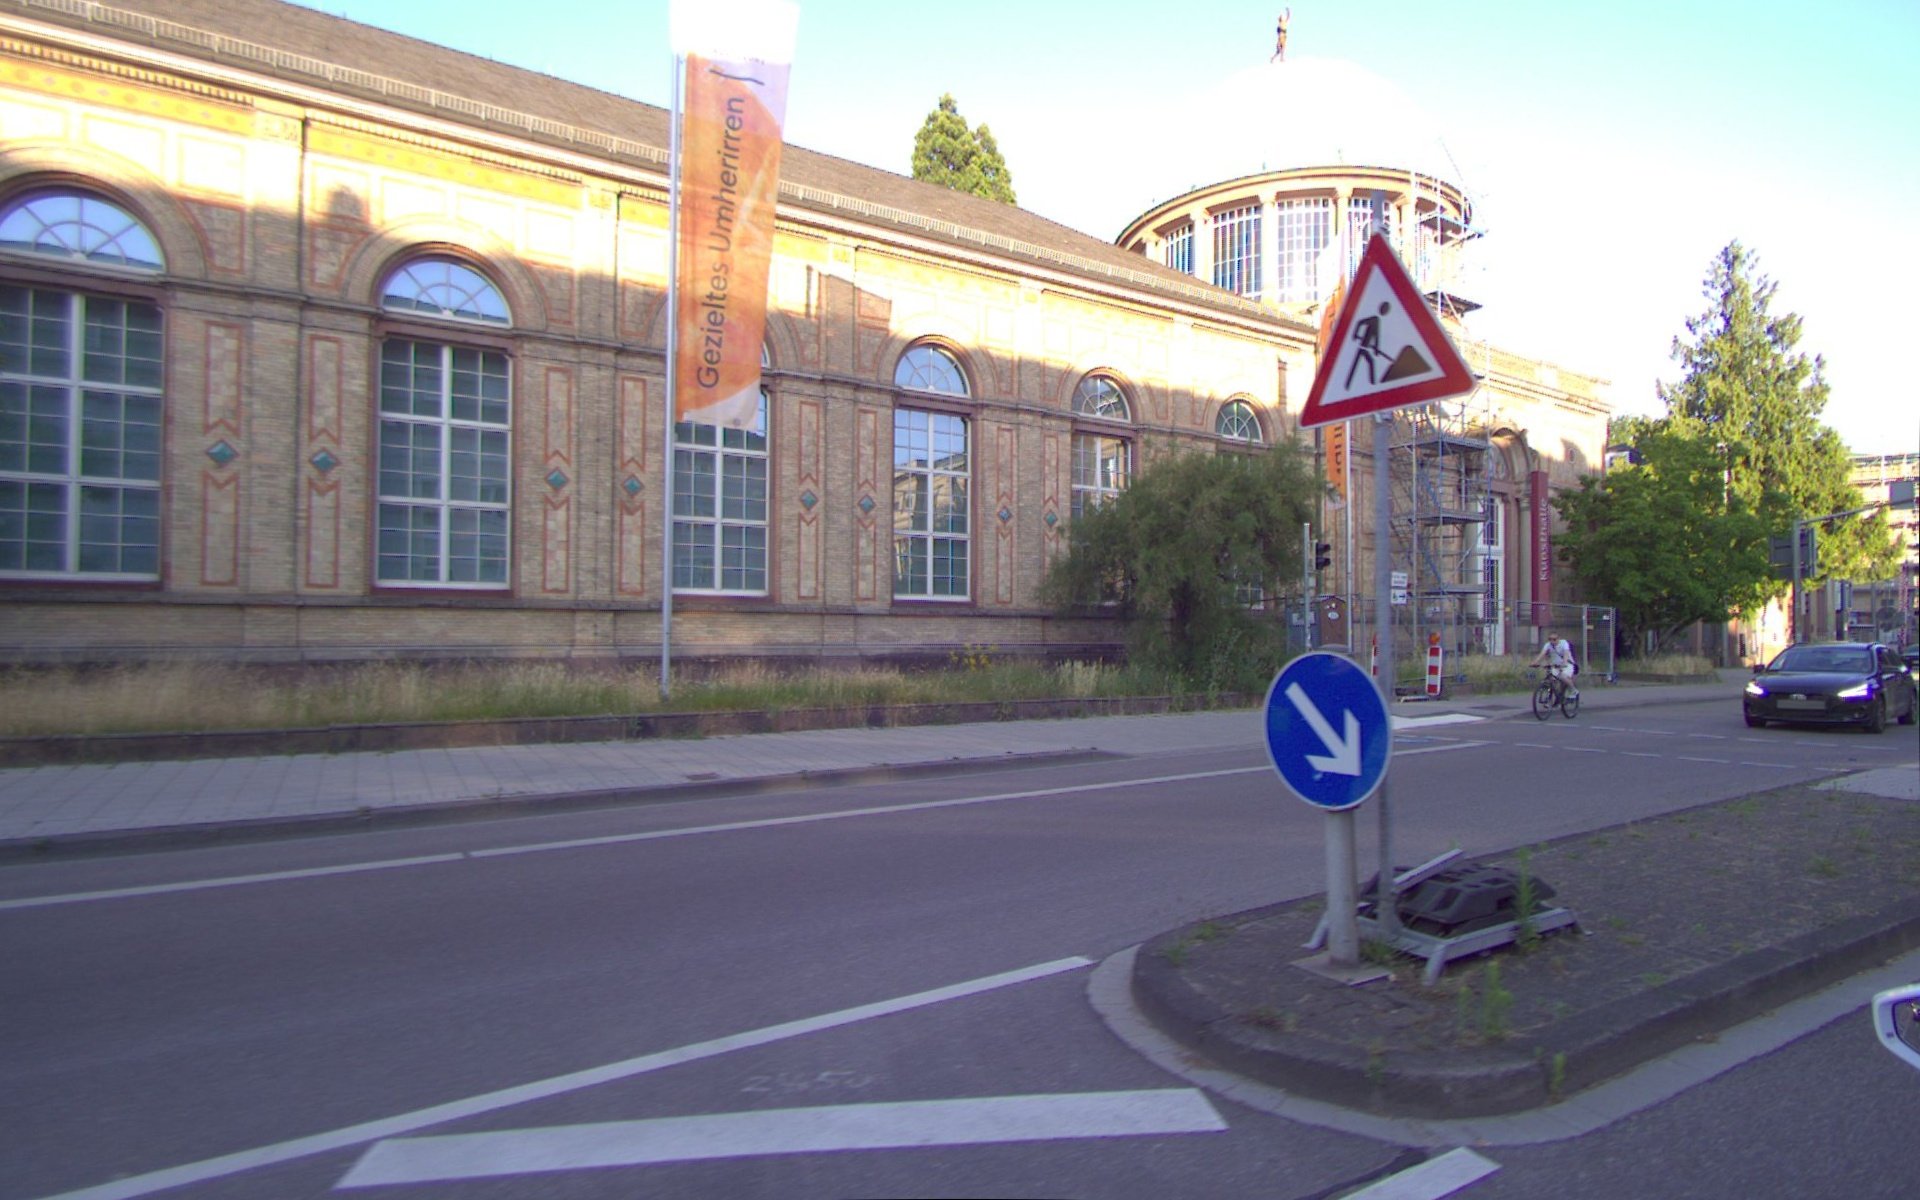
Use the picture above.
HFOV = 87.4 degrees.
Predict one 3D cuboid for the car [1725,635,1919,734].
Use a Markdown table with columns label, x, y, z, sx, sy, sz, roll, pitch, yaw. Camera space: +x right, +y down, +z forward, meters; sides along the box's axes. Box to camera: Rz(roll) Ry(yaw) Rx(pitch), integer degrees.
| label | x | y | z | sx | sy | sz | roll | pitch | yaw |
| --- | --- | --- | --- | --- | --- | --- | --- | --- | --- |
| car | 15.401 | 1.403 | 17.789 | 4.385 | 1.528 | 1.810 | 2 | -2 | -37 |

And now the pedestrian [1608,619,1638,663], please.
| label | x | y | z | sx | sy | sz | roll | pitch | yaw |
| --- | --- | --- | --- | --- | --- | --- | --- | --- | --- |
| pedestrian | 24.614 | 1.507 | 37.285 | 0.755 | 1.600 | 0.730 | 1 | -1 | -37 |

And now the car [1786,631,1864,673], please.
| label | x | y | z | sx | sy | sz | roll | pitch | yaw |
| --- | --- | --- | --- | --- | --- | --- | --- | --- | --- |
| car | 35.644 | 2.169 | 41.367 | 4.334 | 1.568 | 1.730 | 4 | -2 | -39 |

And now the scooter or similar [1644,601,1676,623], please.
| label | x | y | z | sx | sy | sz | roll | pitch | yaw |
| --- | --- | --- | --- | --- | --- | --- | --- | --- | --- |
| scooter or similar | 25.129 | 0.431 | 36.058 | 1.019 | 0.788 | 0.673 | 2 | -2 | -38 |

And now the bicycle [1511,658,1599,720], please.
| label | x | y | z | sx | sy | sz | roll | pitch | yaw |
| --- | --- | --- | --- | --- | --- | --- | --- | --- | --- |
| bicycle | 11.289 | 1.657 | 19.046 | 1.915 | 1.104 | 0.748 | 2 | -4 | -37 |

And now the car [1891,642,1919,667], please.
| label | x | y | z | sx | sy | sz | roll | pitch | yaw |
| --- | --- | --- | --- | --- | --- | --- | --- | --- | --- |
| car | 53.315 | 3.008 | 56.028 | 3.859 | 1.368 | 1.664 | 2 | -4 | -42 |

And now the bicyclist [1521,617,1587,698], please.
| label | x | y | z | sx | sy | sz | roll | pitch | yaw |
| --- | --- | --- | --- | --- | --- | --- | --- | --- | --- |
| bicyclist | 11.280 | 1.085 | 19.078 | 0.928 | 1.479 | 0.742 | 2 | -3 | -37 |
